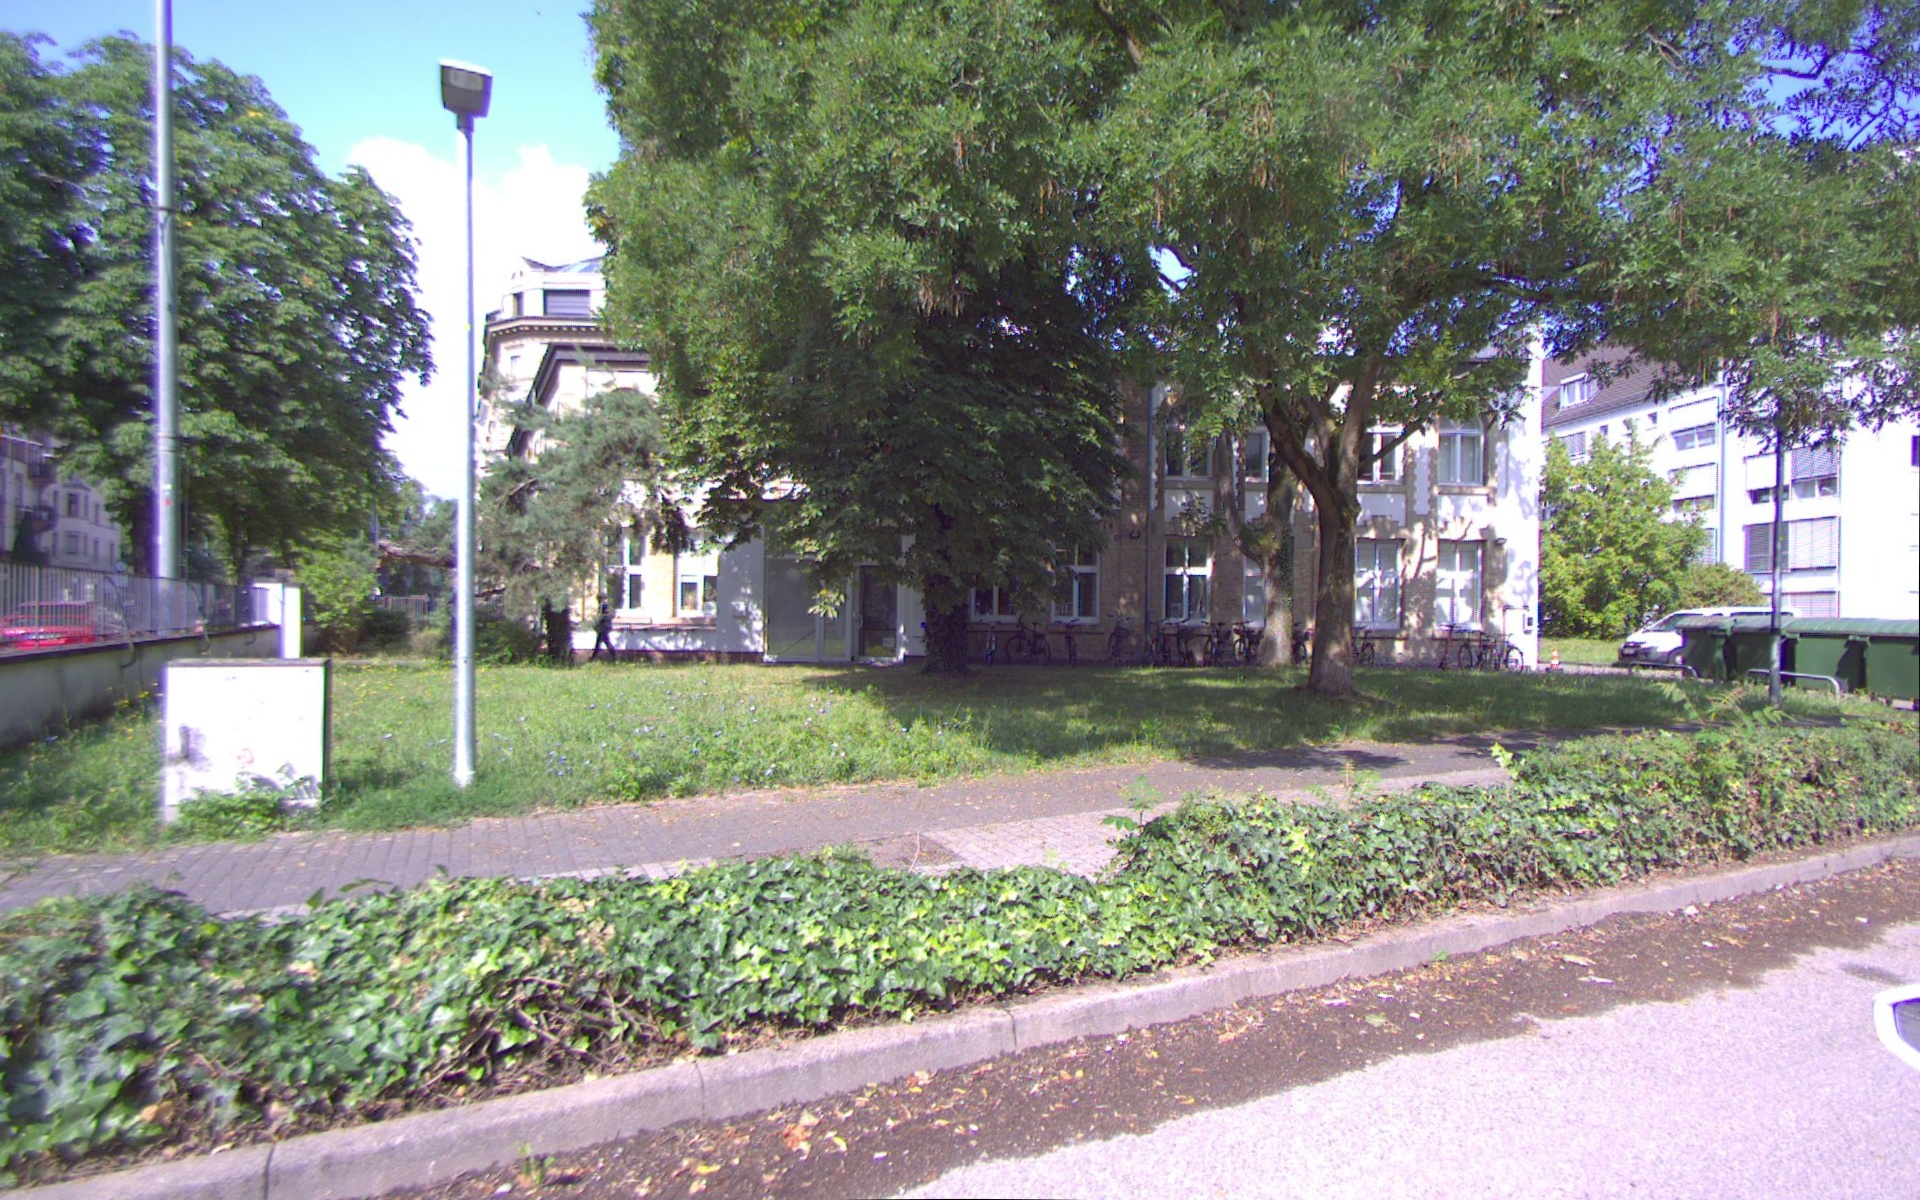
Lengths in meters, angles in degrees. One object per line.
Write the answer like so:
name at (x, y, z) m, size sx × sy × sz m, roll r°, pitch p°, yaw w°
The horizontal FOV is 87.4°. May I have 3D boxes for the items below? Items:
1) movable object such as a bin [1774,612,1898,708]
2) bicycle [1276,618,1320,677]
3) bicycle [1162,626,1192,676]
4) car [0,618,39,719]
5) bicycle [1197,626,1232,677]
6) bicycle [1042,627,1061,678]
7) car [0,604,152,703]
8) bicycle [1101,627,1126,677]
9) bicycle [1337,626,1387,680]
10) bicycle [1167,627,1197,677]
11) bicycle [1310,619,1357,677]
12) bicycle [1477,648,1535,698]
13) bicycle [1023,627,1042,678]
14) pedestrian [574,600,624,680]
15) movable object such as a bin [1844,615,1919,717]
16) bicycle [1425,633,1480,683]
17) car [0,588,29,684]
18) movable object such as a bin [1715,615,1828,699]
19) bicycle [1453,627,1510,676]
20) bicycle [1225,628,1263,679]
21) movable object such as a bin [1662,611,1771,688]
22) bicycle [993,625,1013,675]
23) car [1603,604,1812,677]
movable object such as a bin at (14.751, 0.989, 16.951) m, size 0.864 × 1.471 × 1.233 m, roll 4°, pitch 1°, yaw -6°
bicycle at (8.131, 1.116, 24.214) m, size 0.411 × 1.138 × 2.067 m, roll 4°, pitch 5°, yaw 4°
bicycle at (5.233, 1.208, 24.294) m, size 0.411 × 1.070 × 2.067 m, roll 0°, pitch 1°, yaw 4°
car at (-16.183, 1.105, 15.752) m, size 1.658 × 1.633 × 3.560 m, roll 0°, pitch -2°, yaw -27°
bicycle at (6.156, 1.222, 24.380) m, size 0.411 × 1.070 × 2.067 m, roll 4°, pitch 1°, yaw 4°
bicycle at (2.177, 1.220, 23.957) m, size 0.411 × 1.070 × 2.067 m, roll 0°, pitch 1°, yaw 4°
car at (-19.378, 1.099, 21.786) m, size 1.941 × 1.728 × 3.973 m, roll 3°, pitch 1°, yaw -26°
bicycle at (3.671, 1.217, 24.077) m, size 0.411 × 1.070 × 2.067 m, roll 0°, pitch 1°, yaw 4°
bicycle at (9.761, 1.263, 24.455) m, size 0.351 × 1.158 × 1.859 m, roll 4°, pitch 1°, yaw -1°
bicycle at (5.350, 1.231, 24.311) m, size 0.411 × 1.070 × 2.067 m, roll 0°, pitch 1°, yaw 4°
bicycle at (8.972, 1.132, 24.195) m, size 0.411 × 1.231 × 2.067 m, roll 4°, pitch 1°, yaw 4°
bicycle at (13.247, 1.748, 24.419) m, size 0.314 × 1.051 × 1.859 m, roll 4°, pitch 0°, yaw -1°
bicycle at (1.717, 1.208, 23.768) m, size 0.411 × 1.070 × 2.067 m, roll 0°, pitch 1°, yaw 4°
pedestrian at (-8.122, 0.893, 22.619) m, size 0.758 × 1.700 × 0.808 m, roll 4°, pitch 1°, yaw -1°
movable object such as a bin at (14.830, 1.022, 15.502) m, size 1.081 × 1.471 × 1.343 m, roll 4°, pitch 1°, yaw 0°
bicycle at (11.898, 1.381, 24.323) m, size 0.314 × 1.051 × 1.859 m, roll 4°, pitch 0°, yaw -1°
car at (-16.121, 0.625, 15.552) m, size 1.651 × 1.506 × 3.256 m, roll 1°, pitch 2°, yaw -27°
movable object such as a bin at (14.778, 1.018, 18.325) m, size 0.929 × 1.367 × 1.233 m, roll 4°, pitch 1°, yaw -6°
bicycle at (12.588, 1.223, 24.288) m, size 0.314 × 1.051 × 1.859 m, roll 4°, pitch 0°, yaw -1°
bicycle at (6.853, 1.270, 24.322) m, size 0.411 × 1.070 × 2.067 m, roll 4°, pitch 1°, yaw 4°
movable object such as a bin at (14.828, 0.945, 19.736) m, size 0.929 × 1.367 × 1.380 m, roll 4°, pitch 1°, yaw -6°
bicycle at (1.036, 1.170, 24.022) m, size 0.411 × 1.070 × 2.067 m, roll 0°, pitch 1°, yaw 4°
car at (22.825, 1.220, 30.806) m, size 4.856 × 1.990 × 2.001 m, roll 2°, pitch -1°, yaw 2°
